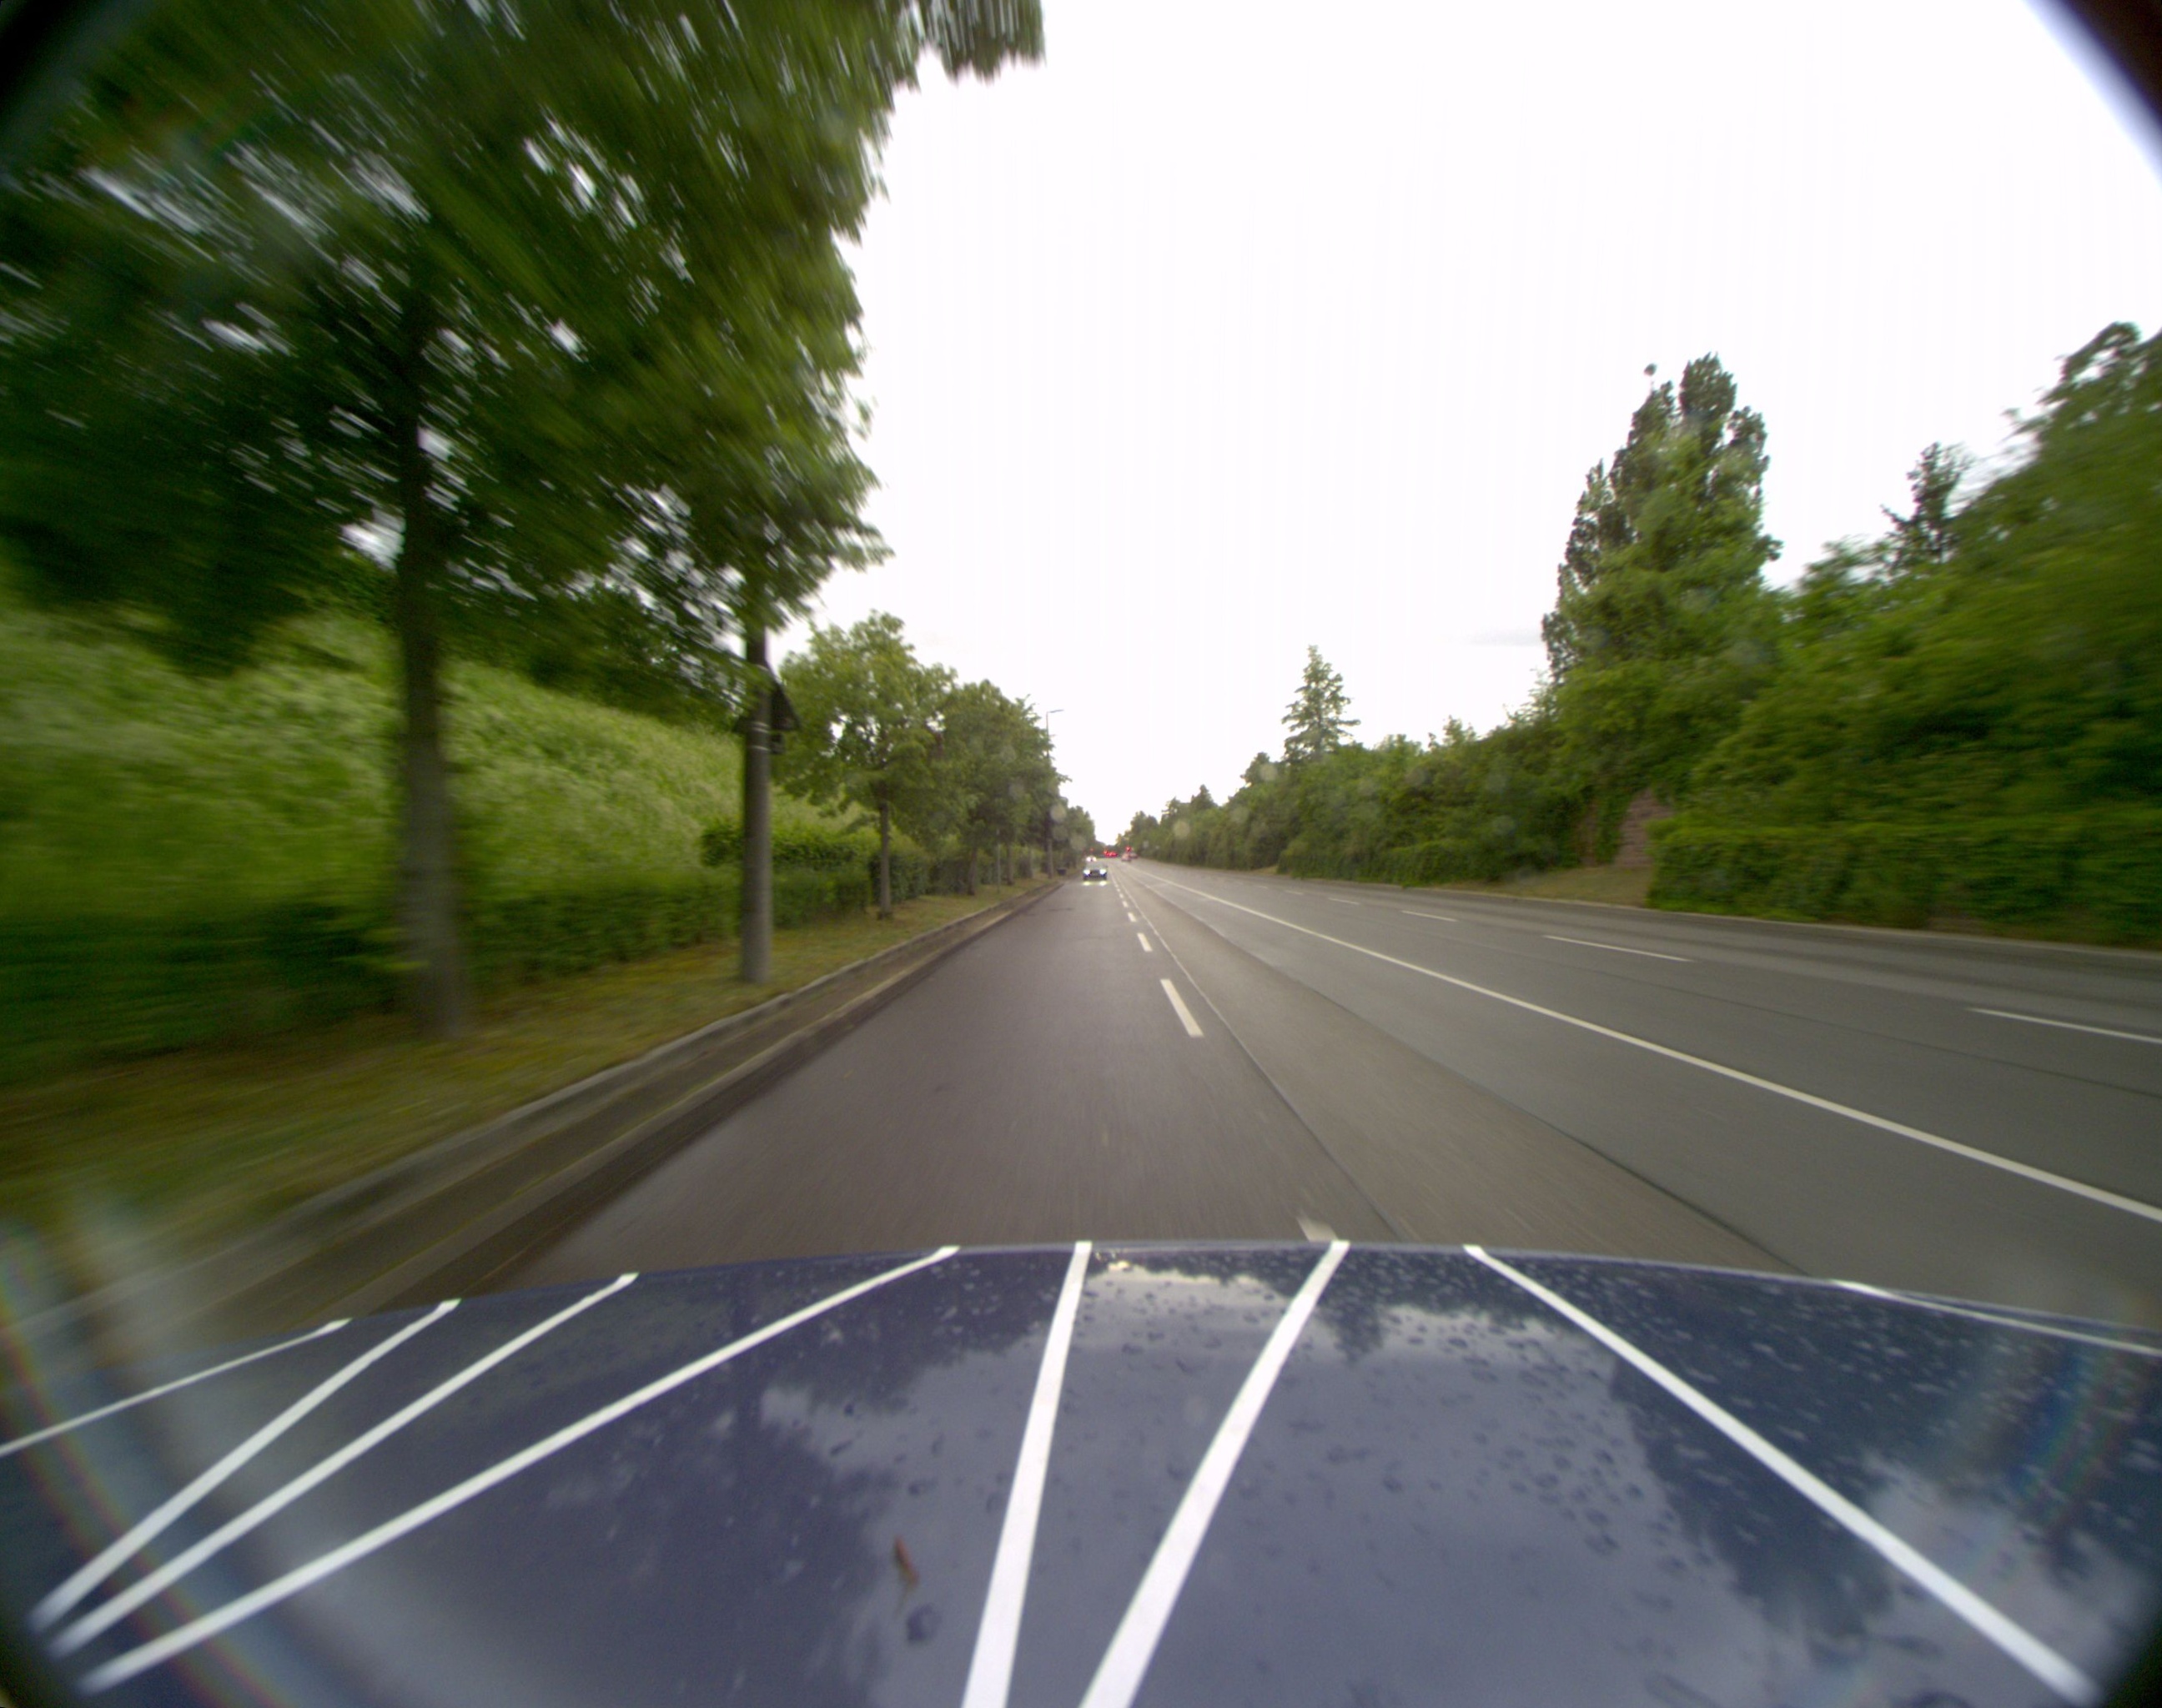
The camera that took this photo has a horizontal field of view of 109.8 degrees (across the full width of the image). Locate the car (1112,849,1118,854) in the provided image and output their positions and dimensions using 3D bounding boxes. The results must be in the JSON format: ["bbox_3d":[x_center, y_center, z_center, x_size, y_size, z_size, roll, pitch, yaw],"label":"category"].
[{"bbox_3d":[11.328,-0.715,250.285,1.816,1.648,4.595,-2,0,1],"label":"car"}]

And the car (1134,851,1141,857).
[{"bbox_3d":[14.993,-0.007,201.256,1.764,1.373,4.839,-3,0,2],"label":"car"}]

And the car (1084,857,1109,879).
[{"bbox_3d":[1.130,1.036,57.973,1.738,1.577,4.285,-2,0,-1],"label":"car"}]

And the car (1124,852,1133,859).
[{"bbox_3d":[10.726,0.396,172.003,1.719,1.496,4.517,-3,0,2],"label":"car"}]

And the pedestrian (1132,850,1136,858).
[{"bbox_3d":[11.036,-0.023,159.173,0.807,1.532,1.111,-2,1,2],"label":"pedestrian"}]

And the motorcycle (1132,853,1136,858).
[{"bbox_3d":[11.049,0.323,159.196,0.807,1.124,2.231,-2,0,2],"label":"motorcycle"}]
